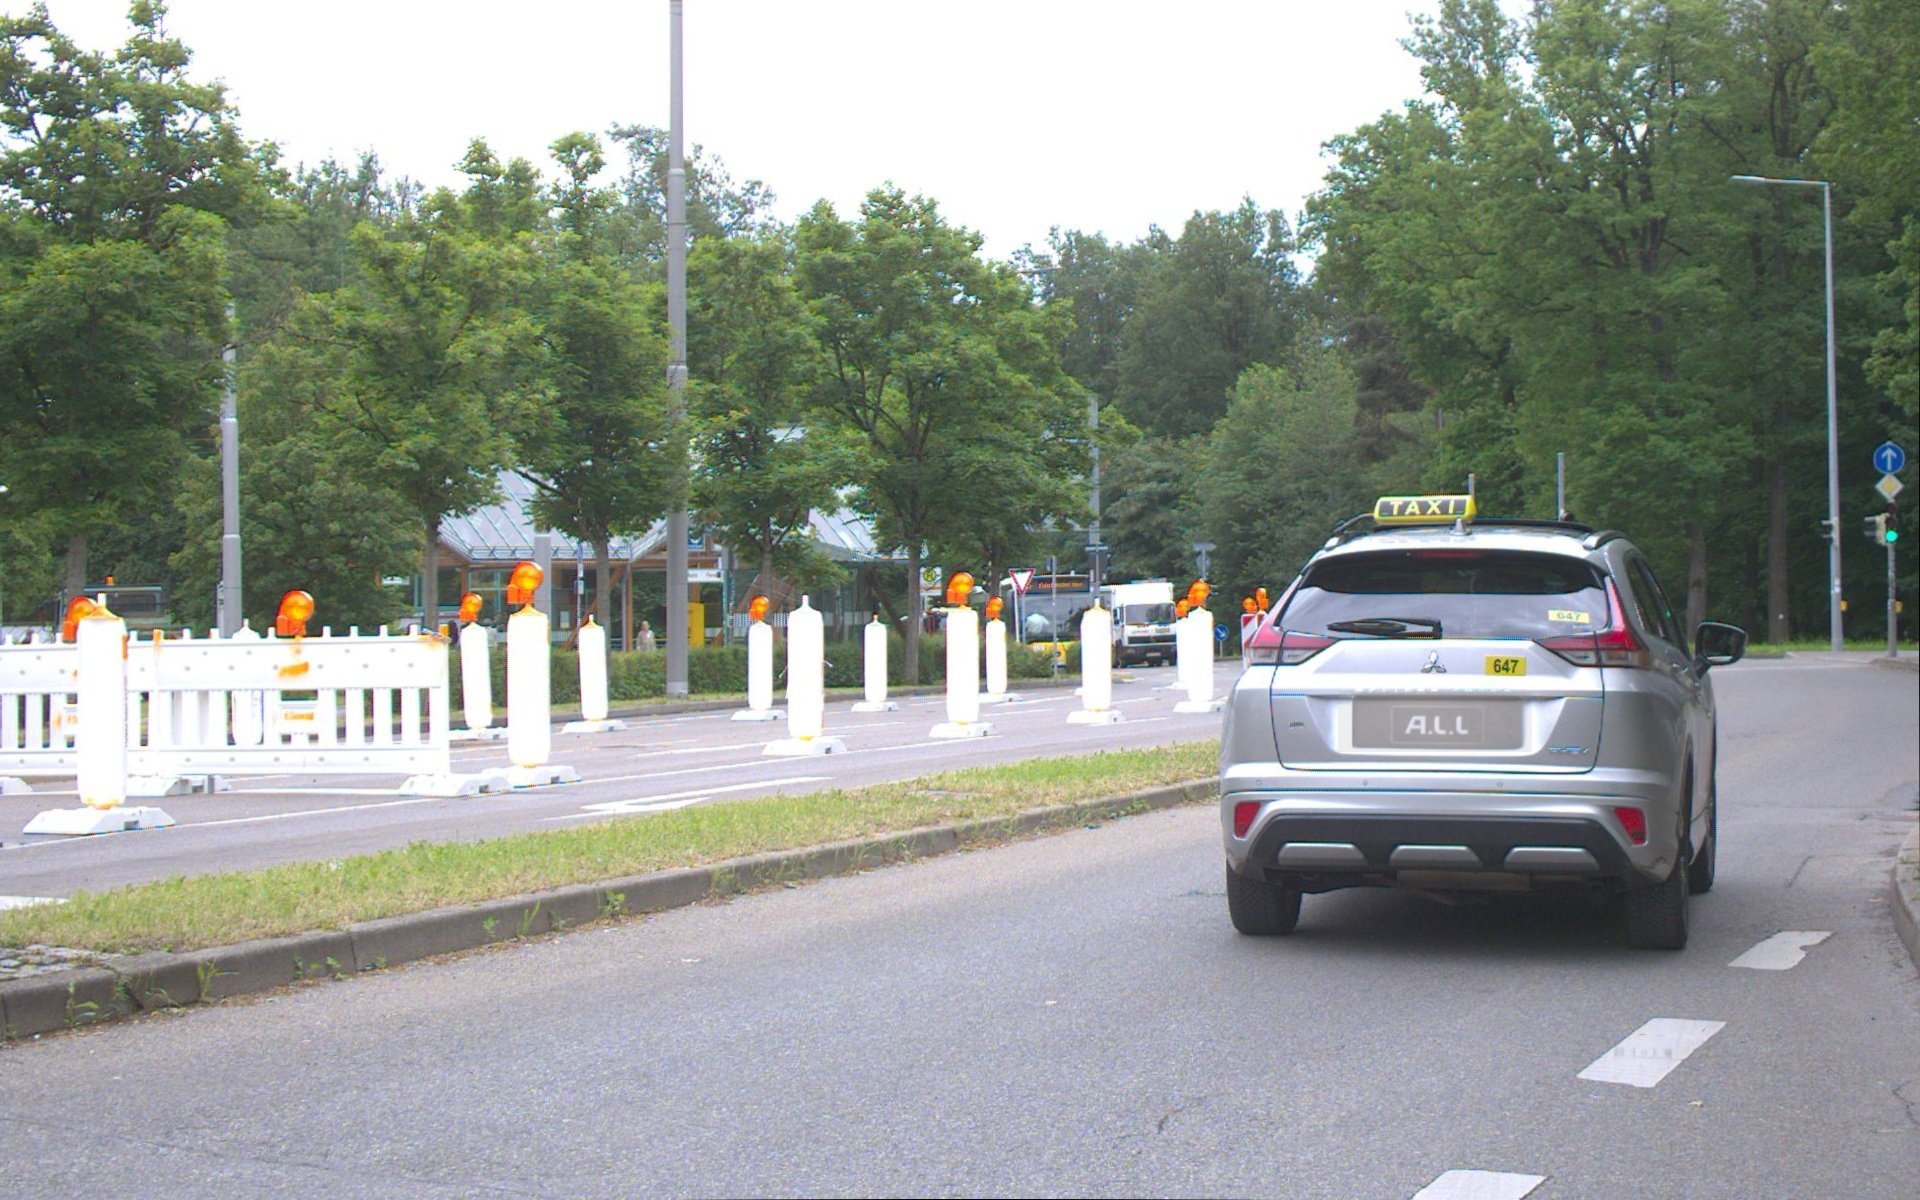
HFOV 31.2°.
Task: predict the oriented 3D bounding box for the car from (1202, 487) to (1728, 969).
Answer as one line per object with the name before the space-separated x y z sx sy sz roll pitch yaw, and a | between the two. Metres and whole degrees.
car | 2.247 0.491 14.468 1.775 1.742 3.777 0 -1 15

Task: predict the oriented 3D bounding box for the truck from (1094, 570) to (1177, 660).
truck | 6.655 0.600 131.282 2.483 3.275 8.519 -1 0 -1

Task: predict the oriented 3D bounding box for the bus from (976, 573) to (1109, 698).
bus | 2.414 1.026 105.690 2.821 3.591 12.805 -1 0 -4

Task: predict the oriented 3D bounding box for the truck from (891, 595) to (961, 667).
truck | -1.681 1.552 166.958 2.483 3.276 8.520 -1 -2 -6
